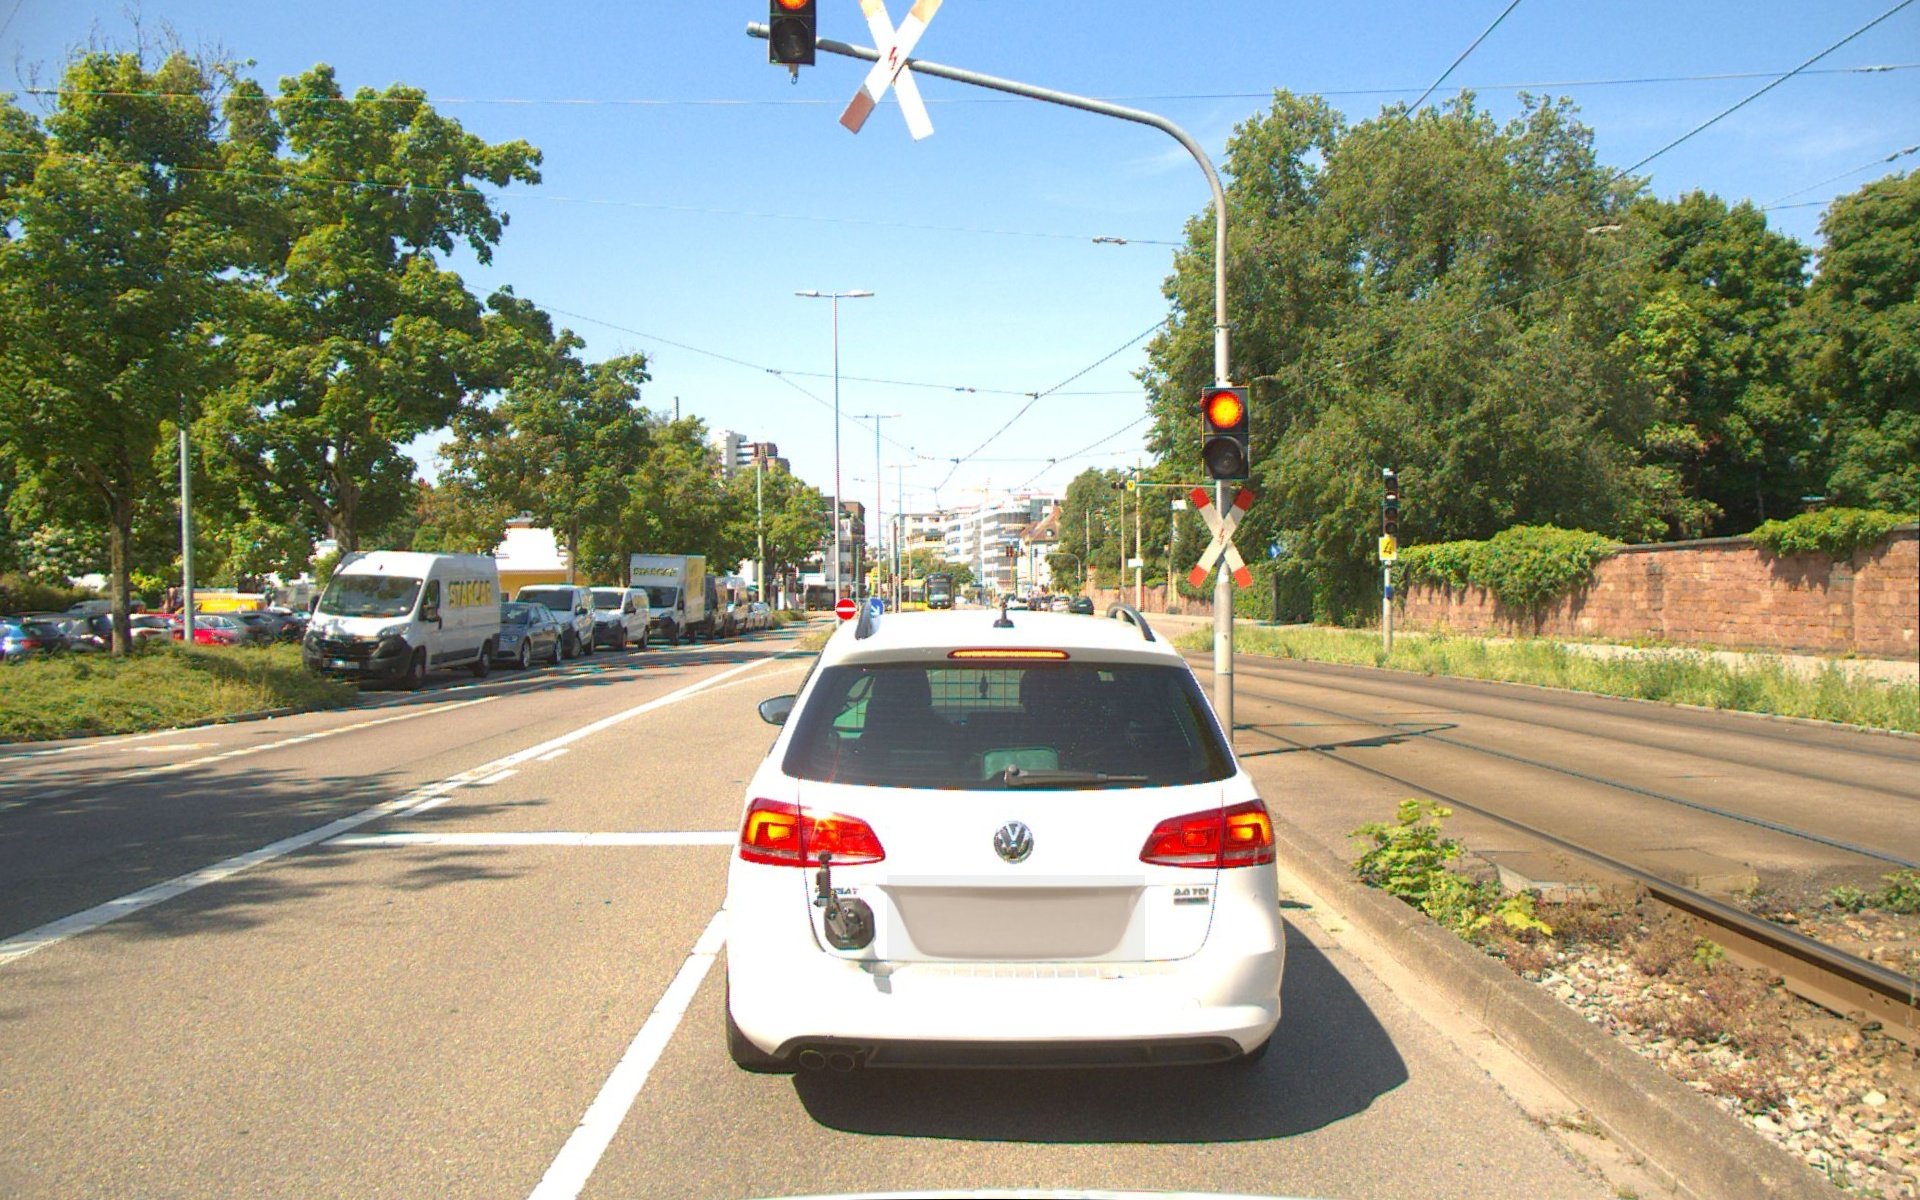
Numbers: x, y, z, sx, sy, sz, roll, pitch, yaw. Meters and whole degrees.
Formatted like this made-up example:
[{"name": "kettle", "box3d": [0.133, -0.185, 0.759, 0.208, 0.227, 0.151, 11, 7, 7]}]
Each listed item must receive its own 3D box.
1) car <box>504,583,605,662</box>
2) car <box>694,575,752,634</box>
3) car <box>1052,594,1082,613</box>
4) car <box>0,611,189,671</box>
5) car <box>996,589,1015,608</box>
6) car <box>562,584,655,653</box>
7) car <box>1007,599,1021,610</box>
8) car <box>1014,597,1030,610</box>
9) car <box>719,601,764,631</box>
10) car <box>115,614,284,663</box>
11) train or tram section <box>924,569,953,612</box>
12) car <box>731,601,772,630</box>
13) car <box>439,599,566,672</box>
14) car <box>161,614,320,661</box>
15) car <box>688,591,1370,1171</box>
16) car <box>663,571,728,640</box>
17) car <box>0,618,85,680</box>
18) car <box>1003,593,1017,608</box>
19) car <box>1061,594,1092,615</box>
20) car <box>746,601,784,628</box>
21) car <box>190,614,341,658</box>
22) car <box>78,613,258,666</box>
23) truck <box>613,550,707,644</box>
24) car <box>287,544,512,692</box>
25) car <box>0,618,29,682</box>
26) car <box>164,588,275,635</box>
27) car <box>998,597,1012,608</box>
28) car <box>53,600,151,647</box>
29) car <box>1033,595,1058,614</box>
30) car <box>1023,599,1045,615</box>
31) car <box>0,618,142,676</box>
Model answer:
[{"name": "car", "box3d": [-11.002, 0.571, 45.206, 1.807, 1.971, 5.189, -1, 0, -5]}, {"name": "car", "box3d": [-10.780, 0.195, 75.625, 1.806, 2.538, 5.856, -1, 0, 0]}, {"name": "car", "box3d": [8.171, 0.254, 126.078, 1.824, 1.441, 4.323, 1, 0, -2]}, {"name": "car", "box3d": [-21.754, 1.025, 41.545, 3.904, 1.373, 1.772, -1, 0, 2]}, {"name": "car", "box3d": [6.453, -0.199, 234.241, 2.413, 2.542, 5.908, 1, -1, -1]}, {"name": "car", "box3d": [-10.939, 0.535, 51.766, 1.806, 1.995, 5.133, -1, 0, 0]}, {"name": "car", "box3d": [6.497, 0.549, 200.197, 1.549, 1.370, 3.453, 1, -1, -1]}, {"name": "car", "box3d": [6.790, 0.394, 181.379, 1.549, 1.370, 3.453, 1, -1, -1]}, {"name": "car", "box3d": [-11.220, 0.819, 85.260, 1.806, 1.458, 4.037, -1, 0, -1]}, {"name": "car", "box3d": [-21.357, 1.073, 46.563, 3.904, 1.246, 1.772, -1, 0, 2]}, {"name": "train or tram section", "box3d": [-1.754, -0.713, 135.691, 2.254, 3.309, 11.272, 1, -1, 0]}, {"name": "car", "box3d": [-11.376, 0.823, 90.449, 1.806, 1.458, 4.037, -1, 0, -1]}, {"name": "car", "box3d": [-10.562, 0.777, 38.500, 1.806, 1.543, 4.196, -1, 0, -1]}, {"name": "car", "box3d": [-21.346, 1.102, 49.159, 3.904, 1.246, 1.772, -1, 0, 2]}, {"name": "car", "box3d": [0.128, 0.719, 6.212, 1.732, 1.471, 3.912, 1, 0, -2]}, {"name": "car", "box3d": [-10.824, 0.210, 67.973, 1.806, 2.715, 5.003, -1, 0, 0]}, {"name": "car", "box3d": [-21.292, 1.081, 35.645, 3.904, 1.246, 1.772, -1, 0, 2]}, {"name": "car", "box3d": [6.467, 0.104, 213.333, 1.657, 1.844, 3.453, 1, -1, -1]}, {"name": "car", "box3d": [7.943, 0.304, 113.111, 1.710, 1.412, 3.912, 1, 0, -1]}, {"name": "car", "box3d": [-11.350, 0.831, 96.402, 1.744, 1.458, 4.037, -1, 0, -1]}, {"name": "car", "box3d": [-21.579, 1.113, 51.479, 3.904, 1.246, 1.772, -1, 0, 2]}, {"name": "car", "box3d": [-21.004, 1.036, 43.974, 3.904, 1.286, 1.772, -1, 0, 2]}, {"name": "truck", "box3d": [-10.815, -0.111, 60.161, 2.309, 3.177, 6.889, -1, 0, -2]}, {"name": "car", "box3d": [-10.742, 0.288, 32.305, 2.016, 2.544, 6.309, 2, 0, 2]}, {"name": "car", "box3d": [-20.968, 1.046, 32.832, 3.907, 1.246, 1.770, -1, 0, -3]}, {"name": "car", "box3d": [-34.199, 0.541, 76.475, 4.175, 2.049, 1.997, 1, -1, -7]}, {"name": "car", "box3d": [6.867, 0.400, 251.406, 1.953, 1.624, 3.999, 1, -1, 0]}, {"name": "car", "box3d": [-36.988, 0.989, 71.342, 3.354, 1.909, 1.552, -1, 0, -3]}, {"name": "car", "box3d": [7.332, 0.374, 141.932, 1.824, 1.539, 3.911, 1, 0, -2]}, {"name": "car", "box3d": [7.096, 0.668, 159.017, 1.711, 1.432, 3.910, 1, 0, -3]}, {"name": "car", "box3d": [-21.622, 1.112, 38.866, 3.904, 1.246, 1.772, -1, 0, 2]}]
